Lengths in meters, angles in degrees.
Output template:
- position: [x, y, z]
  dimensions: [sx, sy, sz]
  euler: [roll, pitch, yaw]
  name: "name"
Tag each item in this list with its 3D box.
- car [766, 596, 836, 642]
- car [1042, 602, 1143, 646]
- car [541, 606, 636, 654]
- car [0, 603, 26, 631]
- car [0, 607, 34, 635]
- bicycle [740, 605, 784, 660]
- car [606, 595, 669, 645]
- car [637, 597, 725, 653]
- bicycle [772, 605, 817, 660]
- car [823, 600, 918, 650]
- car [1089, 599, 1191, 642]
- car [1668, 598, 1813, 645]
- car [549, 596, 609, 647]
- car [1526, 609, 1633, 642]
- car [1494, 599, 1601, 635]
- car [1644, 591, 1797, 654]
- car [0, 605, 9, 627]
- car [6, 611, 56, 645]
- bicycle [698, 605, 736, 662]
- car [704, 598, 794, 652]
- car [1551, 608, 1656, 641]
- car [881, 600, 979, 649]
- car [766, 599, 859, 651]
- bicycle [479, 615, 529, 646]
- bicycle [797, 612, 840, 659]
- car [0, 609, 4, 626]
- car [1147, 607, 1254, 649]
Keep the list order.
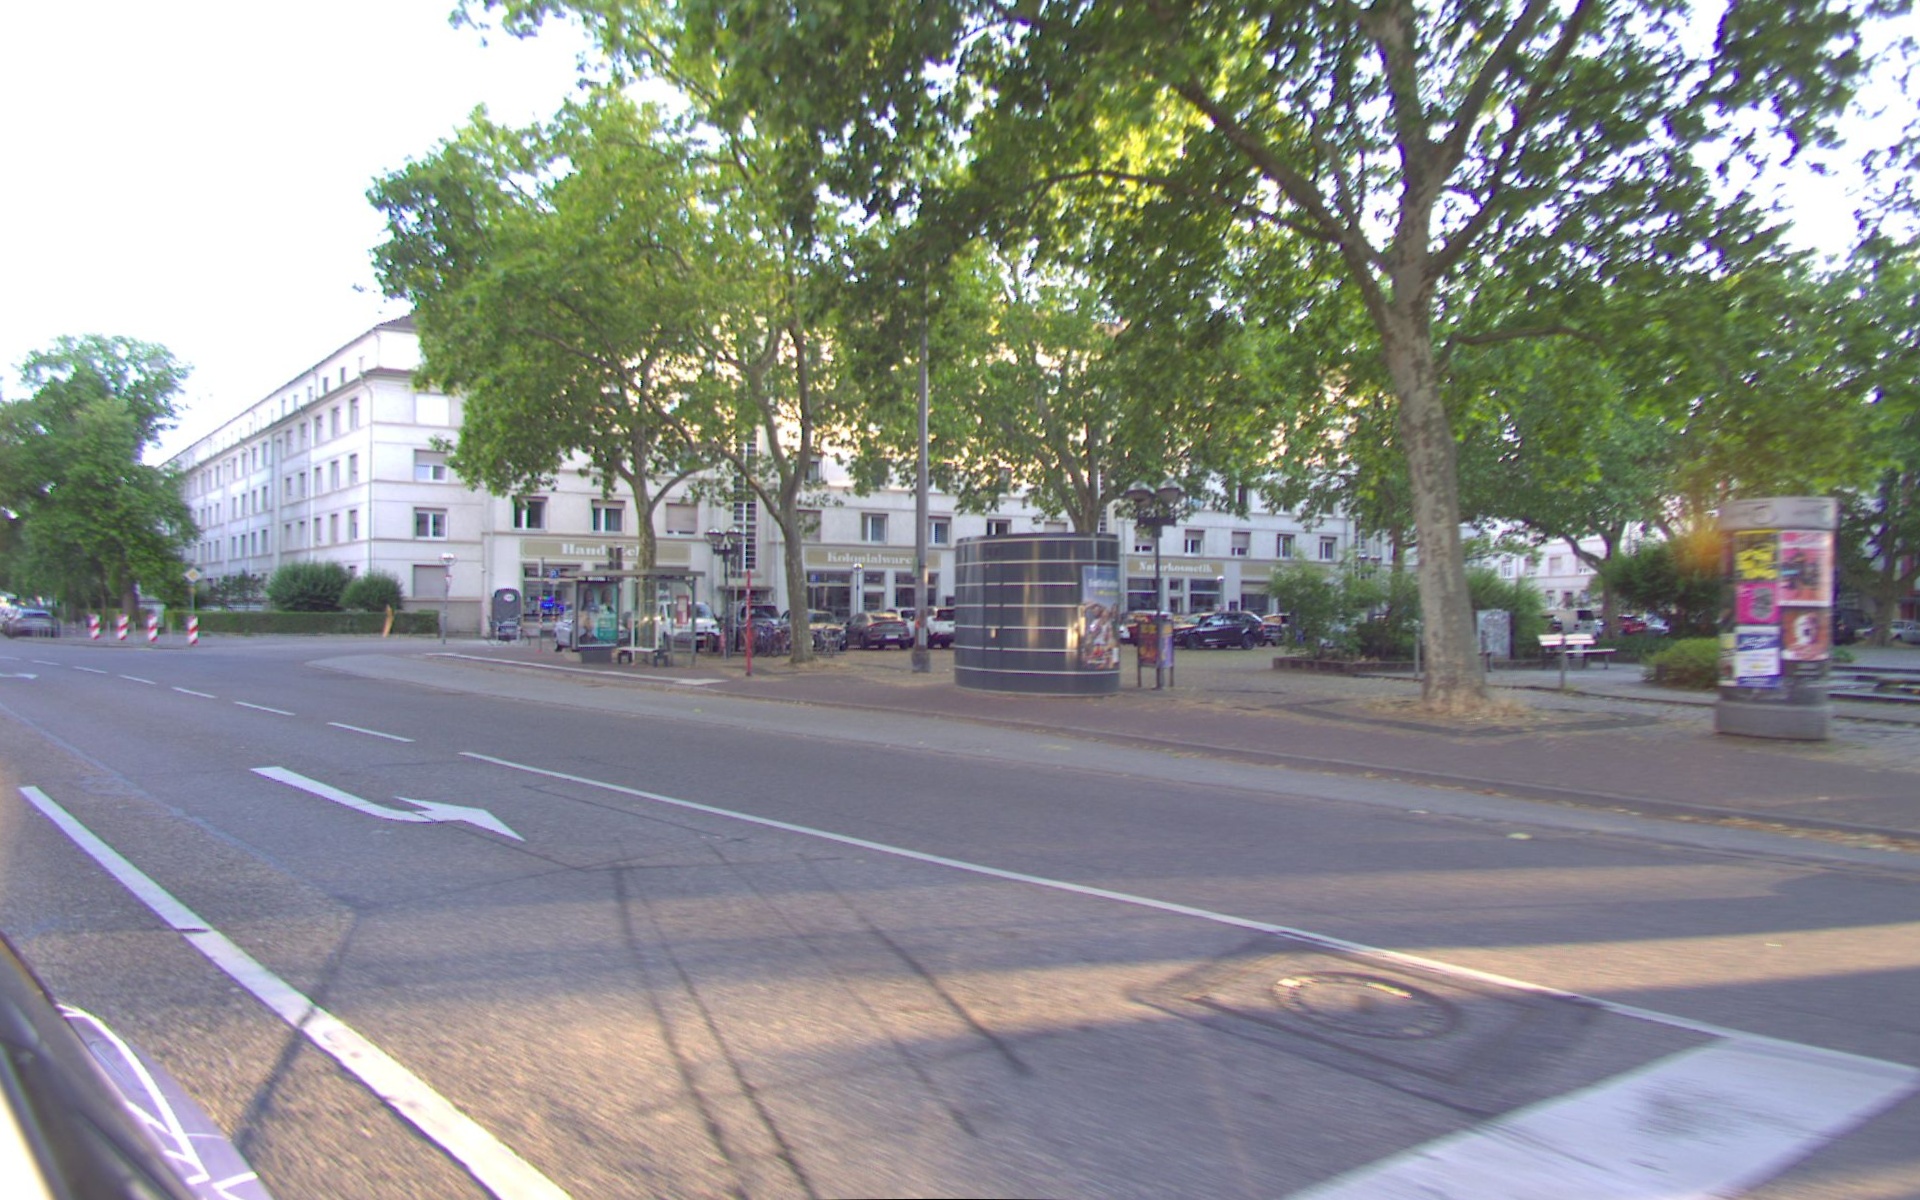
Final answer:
- position: [-7.614, 0.870, 48.036]
  dimensions: [1.965, 1.970, 4.656]
  euler: [2, 1, -25]
  name: "car"
- position: [5.631, 1.059, 43.552]
  dimensions: [1.965, 1.795, 4.655]
  euler: [2, -3, -28]
  name: "car"
- position: [-12.705, 1.026, 34.402]
  dimensions: [1.966, 1.515, 4.653]
  euler: [2, -3, -34]
  name: "car"
- position: [-63.961, 1.138, 67.927]
  dimensions: [1.866, 1.787, 4.264]
  euler: [0, 1, -43]
  name: "car"
- position: [-59.677, 1.299, 63.788]
  dimensions: [1.866, 1.612, 4.264]
  euler: [-1, 1, -43]
  name: "car"
- position: [-6.305, 0.989, 32.065]
  dimensions: [0.795, 1.626, 2.754]
  euler: [0, 1, -23]
  name: "bicycle"
- position: [-14.344, 0.852, 44.851]
  dimensions: [1.965, 1.970, 4.656]
  euler: [2, 1, -25]
  name: "car"
- position: [-9.778, 0.911, 35.230]
  dimensions: [1.965, 1.795, 4.655]
  euler: [2, -3, -28]
  name: "car"
- position: [-5.359, 1.012, 32.568]
  dimensions: [0.795, 1.626, 2.754]
  euler: [0, 1, -23]
  name: "bicycle"
- position: [-3.477, 0.981, 38.588]
  dimensions: [1.965, 1.795, 4.655]
  euler: [2, -3, -28]
  name: "car"
- position: [7.811, 0.939, 44.333]
  dimensions: [1.965, 1.795, 4.655]
  euler: [2, -3, -28]
  name: "car"
- position: [34.632, 0.982, 45.056]
  dimensions: [1.965, 1.953, 4.655]
  euler: [2, -3, -28]
  name: "car"
- position: [-16.478, 0.875, 43.632]
  dimensions: [1.965, 1.970, 4.656]
  euler: [2, 1, -25]
  name: "car"
- position: [34.337, 1.422, 56.209]
  dimensions: [1.968, 1.748, 4.648]
  euler: [2, -3, -40]
  name: "car"
- position: [32.067, 0.965, 55.319]
  dimensions: [1.967, 1.824, 4.659]
  euler: [2, -3, -37]
  name: "car"
- position: [23.177, 0.717, 30.839]
  dimensions: [4.423, 1.795, 2.006]
  euler: [2, -3, -28]
  name: "car"
- position: [-87.092, 1.450, 91.293]
  dimensions: [1.866, 1.879, 4.264]
  euler: [0, 1, -43]
  name: "car"
- position: [-48.704, 1.446, 53.056]
  dimensions: [1.866, 1.612, 4.004]
  euler: [-1, 1, -43]
  name: "car"
- position: [-7.496, 0.999, 31.154]
  dimensions: [0.680, 1.626, 2.754]
  euler: [0, 1, -23]
  name: "bicycle"
- position: [-7.714, 0.936, 36.659]
  dimensions: [1.965, 1.795, 4.655]
  euler: [2, -3, -28]
  name: "car"
- position: [36.601, 1.416, 57.668]
  dimensions: [1.968, 1.748, 4.648]
  euler: [2, -3, -40]
  name: "car"
- position: [-1.251, 0.981, 39.475]
  dimensions: [1.965, 1.795, 4.655]
  euler: [2, -3, -28]
  name: "car"
- position: [-5.546, 0.972, 37.534]
  dimensions: [1.965, 1.795, 4.655]
  euler: [2, -3, -28]
  name: "car"
- position: [-18.593, 1.234, 41.254]
  dimensions: [1.776, 1.215, 0.649]
  euler: [0, 1, -16]
  name: "bicycle"
- position: [-4.642, 1.133, 33.073]
  dimensions: [0.680, 1.394, 2.754]
  euler: [0, 1, -23]
  name: "bicycle"
- position: [-93.979, 1.687, 98.104]
  dimensions: [1.866, 1.612, 4.264]
  euler: [-1, 1, -43]
  name: "car"
- position: [9.311, 1.062, 39.186]
  dimensions: [3.696, 1.540, 1.680]
  euler: [1, 0, -22]
  name: "car"
